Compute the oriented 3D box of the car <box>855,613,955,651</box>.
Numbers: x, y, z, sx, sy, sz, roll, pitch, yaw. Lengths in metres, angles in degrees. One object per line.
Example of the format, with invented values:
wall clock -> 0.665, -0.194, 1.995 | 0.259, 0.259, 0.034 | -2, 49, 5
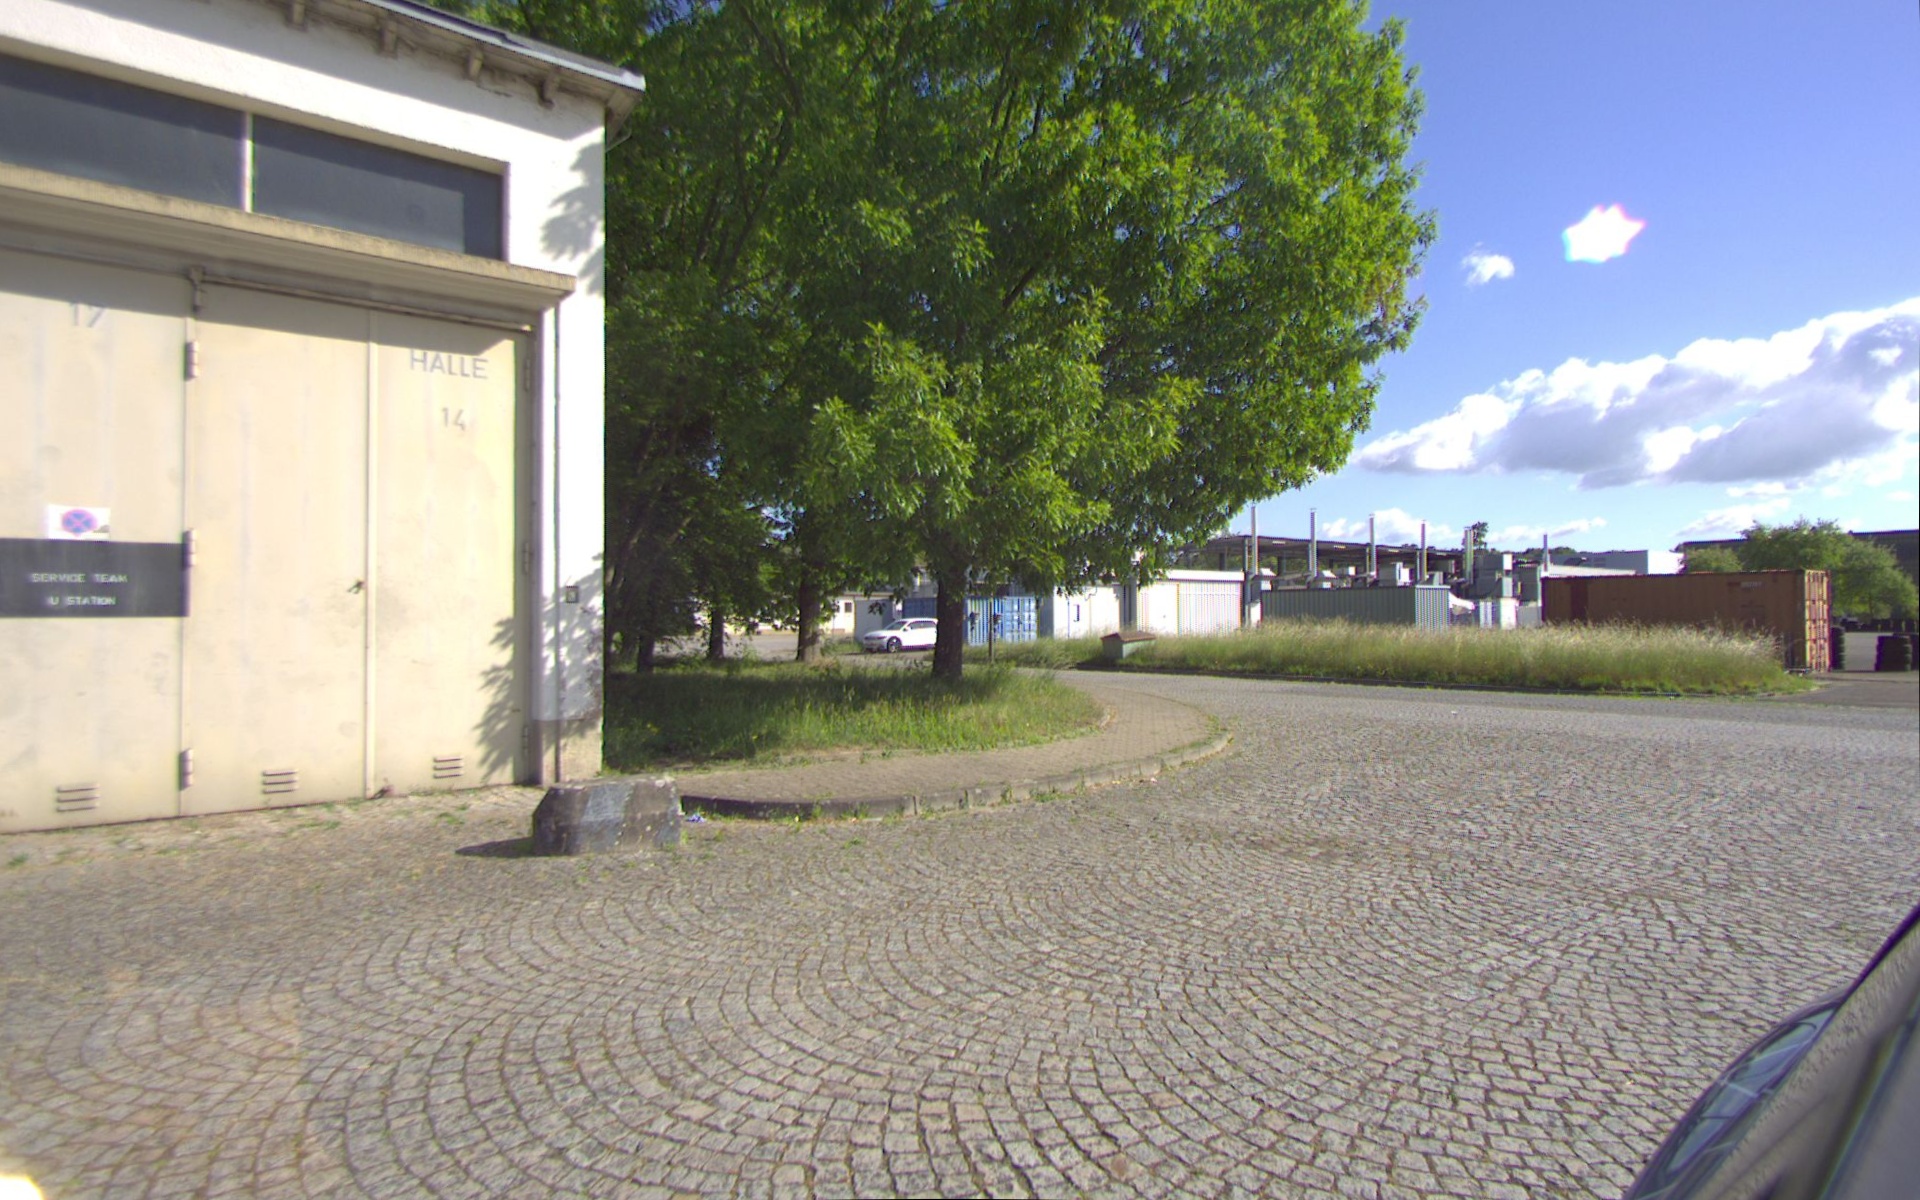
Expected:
car -> -2.614, 1.499, 48.721 | 4.518, 1.699, 1.873 | 0, -1, -37
